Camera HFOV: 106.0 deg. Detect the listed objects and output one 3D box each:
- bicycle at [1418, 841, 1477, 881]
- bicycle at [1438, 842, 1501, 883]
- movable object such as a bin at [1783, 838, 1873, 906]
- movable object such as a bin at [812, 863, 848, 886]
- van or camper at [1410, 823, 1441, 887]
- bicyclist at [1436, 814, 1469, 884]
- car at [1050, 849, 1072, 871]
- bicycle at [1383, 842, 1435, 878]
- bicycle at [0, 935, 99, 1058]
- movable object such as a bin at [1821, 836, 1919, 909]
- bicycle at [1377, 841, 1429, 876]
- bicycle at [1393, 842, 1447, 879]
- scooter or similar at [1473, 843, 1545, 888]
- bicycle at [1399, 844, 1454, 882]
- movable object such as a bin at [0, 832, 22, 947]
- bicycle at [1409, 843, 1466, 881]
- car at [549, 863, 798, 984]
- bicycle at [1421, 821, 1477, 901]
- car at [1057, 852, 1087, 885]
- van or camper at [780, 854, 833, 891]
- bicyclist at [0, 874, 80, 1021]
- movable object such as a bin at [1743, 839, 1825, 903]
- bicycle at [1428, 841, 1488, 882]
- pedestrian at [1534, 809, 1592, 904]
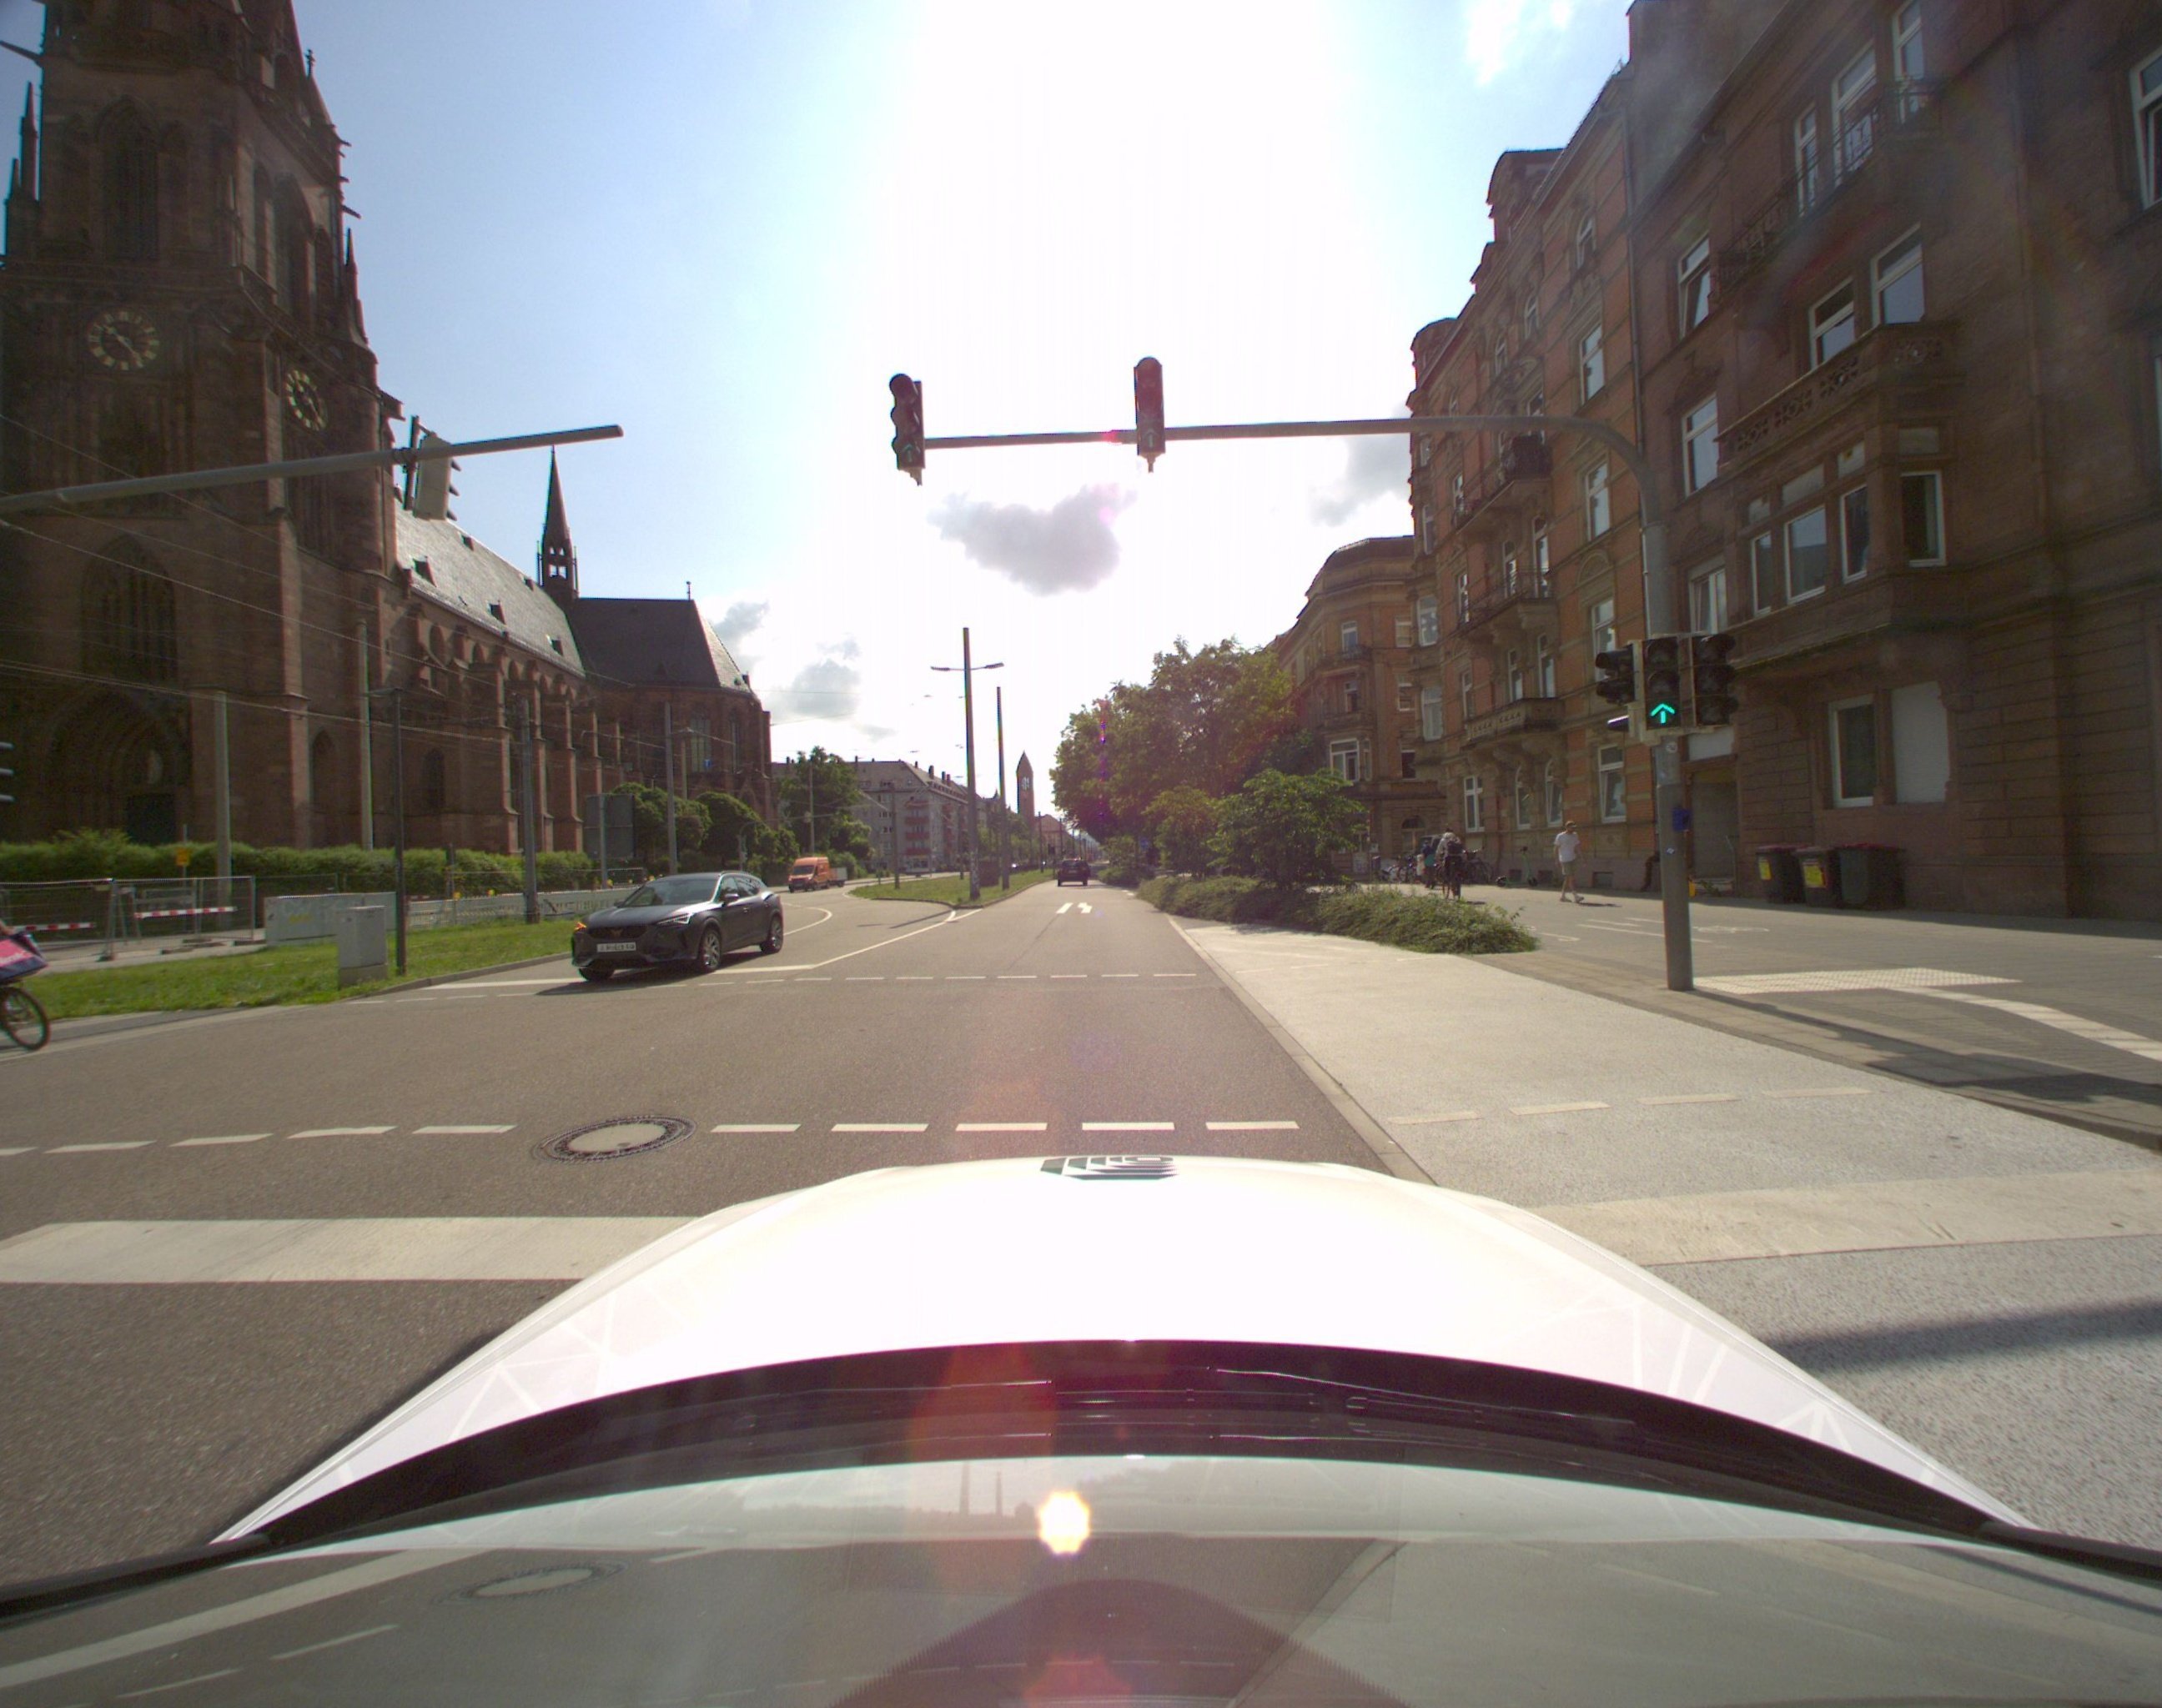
[{"bbox_3d":[12.495,0.228,27.763,1.760,1.268,0.467,-2,2,5],"label":"bicycle"},{"bbox_3d":[12.624,0.270,26.499,1.760,1.268,0.467,-2,2,5],"label":"bicycle"},{"bbox_3d":[12.780,0.304,13.958,0.783,1.107,0.777,-3,-1,0],"label":"movable object such as a bin"},{"bbox_3d":[-22.070,1.797,71.753,2.203,1.693,3.711,-2,2,-5],"label":"movable object such as a bin"},{"bbox_3d":[11.151,0.043,26.381,0.663,2.013,0.638,-3,-1,2],"label":"van or camper"},{"bbox_3d":[9.400,-0.136,20.604,0.425,1.718,0.828,-2,0,3],"label":"bicyclist"},{"bbox_3d":[-1.940,0.595,79.221,1.988,2.013,3.998,-3,0,-1],"label":"car"},{"bbox_3d":[12.490,0.218,31.020,1.760,1.268,0.467,-2,2,5],"label":"bicycle"},{"bbox_3d":[-11.383,1.455,8.281,2.005,1.126,0.934,-3,-1,12],"label":"bicycle"},{"bbox_3d":[12.766,0.291,13.202,0.783,1.107,0.777,-3,-1,0],"label":"movable object such as a bin"},{"bbox_3d":[12.504,0.177,31.644,1.760,1.268,0.467,-2,2,5],"label":"bicycle"},{"bbox_3d":[12.456,0.233,29.966,1.760,1.268,0.467,-2,2,5],"label":"bicycle"},{"bbox_3d":[12.506,0.346,23.824,1.762,1.185,0.467,-4,-1,2],"label":"scooter or similar"},{"bbox_3d":[12.436,0.312,29.344,1.760,1.268,0.467,-2,2,5],"label":"bicycle"},{"bbox_3d":[-30.401,1.058,20.463,1.983,3.105,4.008,-2,2,6],"label":"movable object such as a bin"},{"bbox_3d":[12.479,0.279,28.538,1.760,1.268,0.467,-2,2,5],"label":"bicycle"},{"bbox_3d":[-6.292,0.969,13.229,1.793,1.552,4.295,-3,0,0],"label":"car"},{"bbox_3d":[9.304,0.176,20.657,0.680,1.925,1.591,-3,-1,3],"label":"bicycle"},{"bbox_3d":[-0.501,0.854,49.412,1.683,1.711,3.609,-2,2,0],"label":"car"},{"bbox_3d":[-21.945,1.475,65.466,2.250,2.737,6.197,-3,0,-2],"label":"van or camper"},{"bbox_3d":[-11.187,0.950,8.289,1.082,1.436,0.827,-3,-1,12],"label":"bicyclist"},{"bbox_3d":[12.798,0.305,14.853,0.783,1.107,0.777,-3,-1,0],"label":"movable object such as a bin"},{"bbox_3d":[12.534,0.248,27.084,1.737,1.268,0.467,-2,2,5],"label":"bicycle"},{"bbox_3d":[10.624,0.048,17.977,0.764,2.013,0.716,-3,-1,3],"label":"pedestrian"}]
